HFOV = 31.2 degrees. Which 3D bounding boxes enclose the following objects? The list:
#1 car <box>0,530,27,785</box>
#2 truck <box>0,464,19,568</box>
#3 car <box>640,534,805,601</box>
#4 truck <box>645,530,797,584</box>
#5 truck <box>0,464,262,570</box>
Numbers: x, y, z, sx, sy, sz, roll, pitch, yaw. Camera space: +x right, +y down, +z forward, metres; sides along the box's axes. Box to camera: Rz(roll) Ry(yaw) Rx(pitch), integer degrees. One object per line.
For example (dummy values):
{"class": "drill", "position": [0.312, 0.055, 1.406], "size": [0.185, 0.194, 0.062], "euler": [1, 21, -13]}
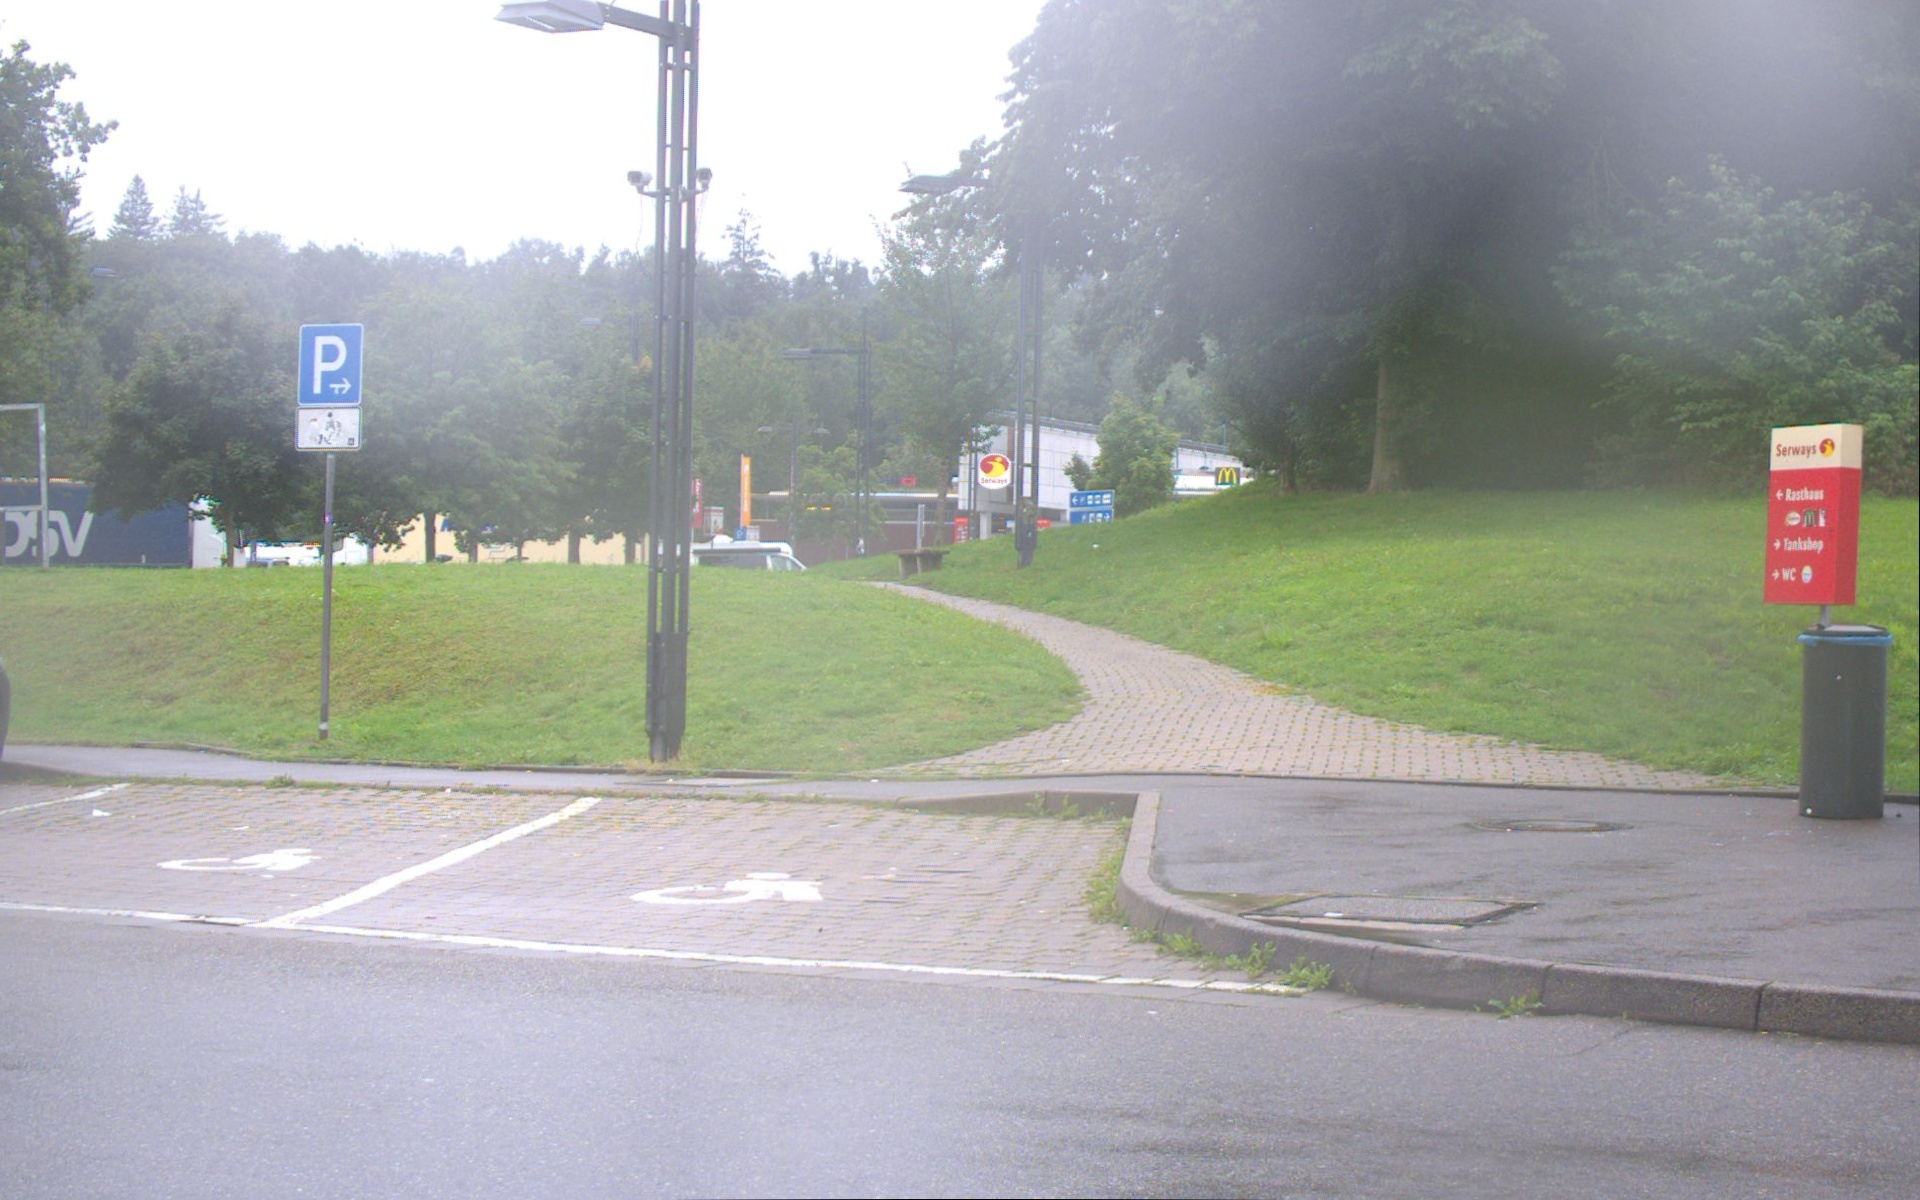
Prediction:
{"class": "car", "position": [-7.801, 0.451, 21.504], "size": [2.018, 1.705, 4.341], "euler": [-1, 1, 12]}
{"class": "truck", "position": [-28.596, -2.351, 94.673], "size": [2.189, 2.910, 5.380], "euler": [1, 1, 24]}
{"class": "car", "position": [-6.516, -0.890, 94.435], "size": [4.123, 1.777, 1.844], "euler": [0, 1, -32]}
{"class": "truck", "position": [-9.317, -1.670, 133.819], "size": [5.413, 2.007, 2.364], "euler": [1, 1, 25]}
{"class": "truck", "position": [-25.457, -2.375, 101.643], "size": [2.188, 2.910, 13.082], "euler": [1, 1, 24]}
